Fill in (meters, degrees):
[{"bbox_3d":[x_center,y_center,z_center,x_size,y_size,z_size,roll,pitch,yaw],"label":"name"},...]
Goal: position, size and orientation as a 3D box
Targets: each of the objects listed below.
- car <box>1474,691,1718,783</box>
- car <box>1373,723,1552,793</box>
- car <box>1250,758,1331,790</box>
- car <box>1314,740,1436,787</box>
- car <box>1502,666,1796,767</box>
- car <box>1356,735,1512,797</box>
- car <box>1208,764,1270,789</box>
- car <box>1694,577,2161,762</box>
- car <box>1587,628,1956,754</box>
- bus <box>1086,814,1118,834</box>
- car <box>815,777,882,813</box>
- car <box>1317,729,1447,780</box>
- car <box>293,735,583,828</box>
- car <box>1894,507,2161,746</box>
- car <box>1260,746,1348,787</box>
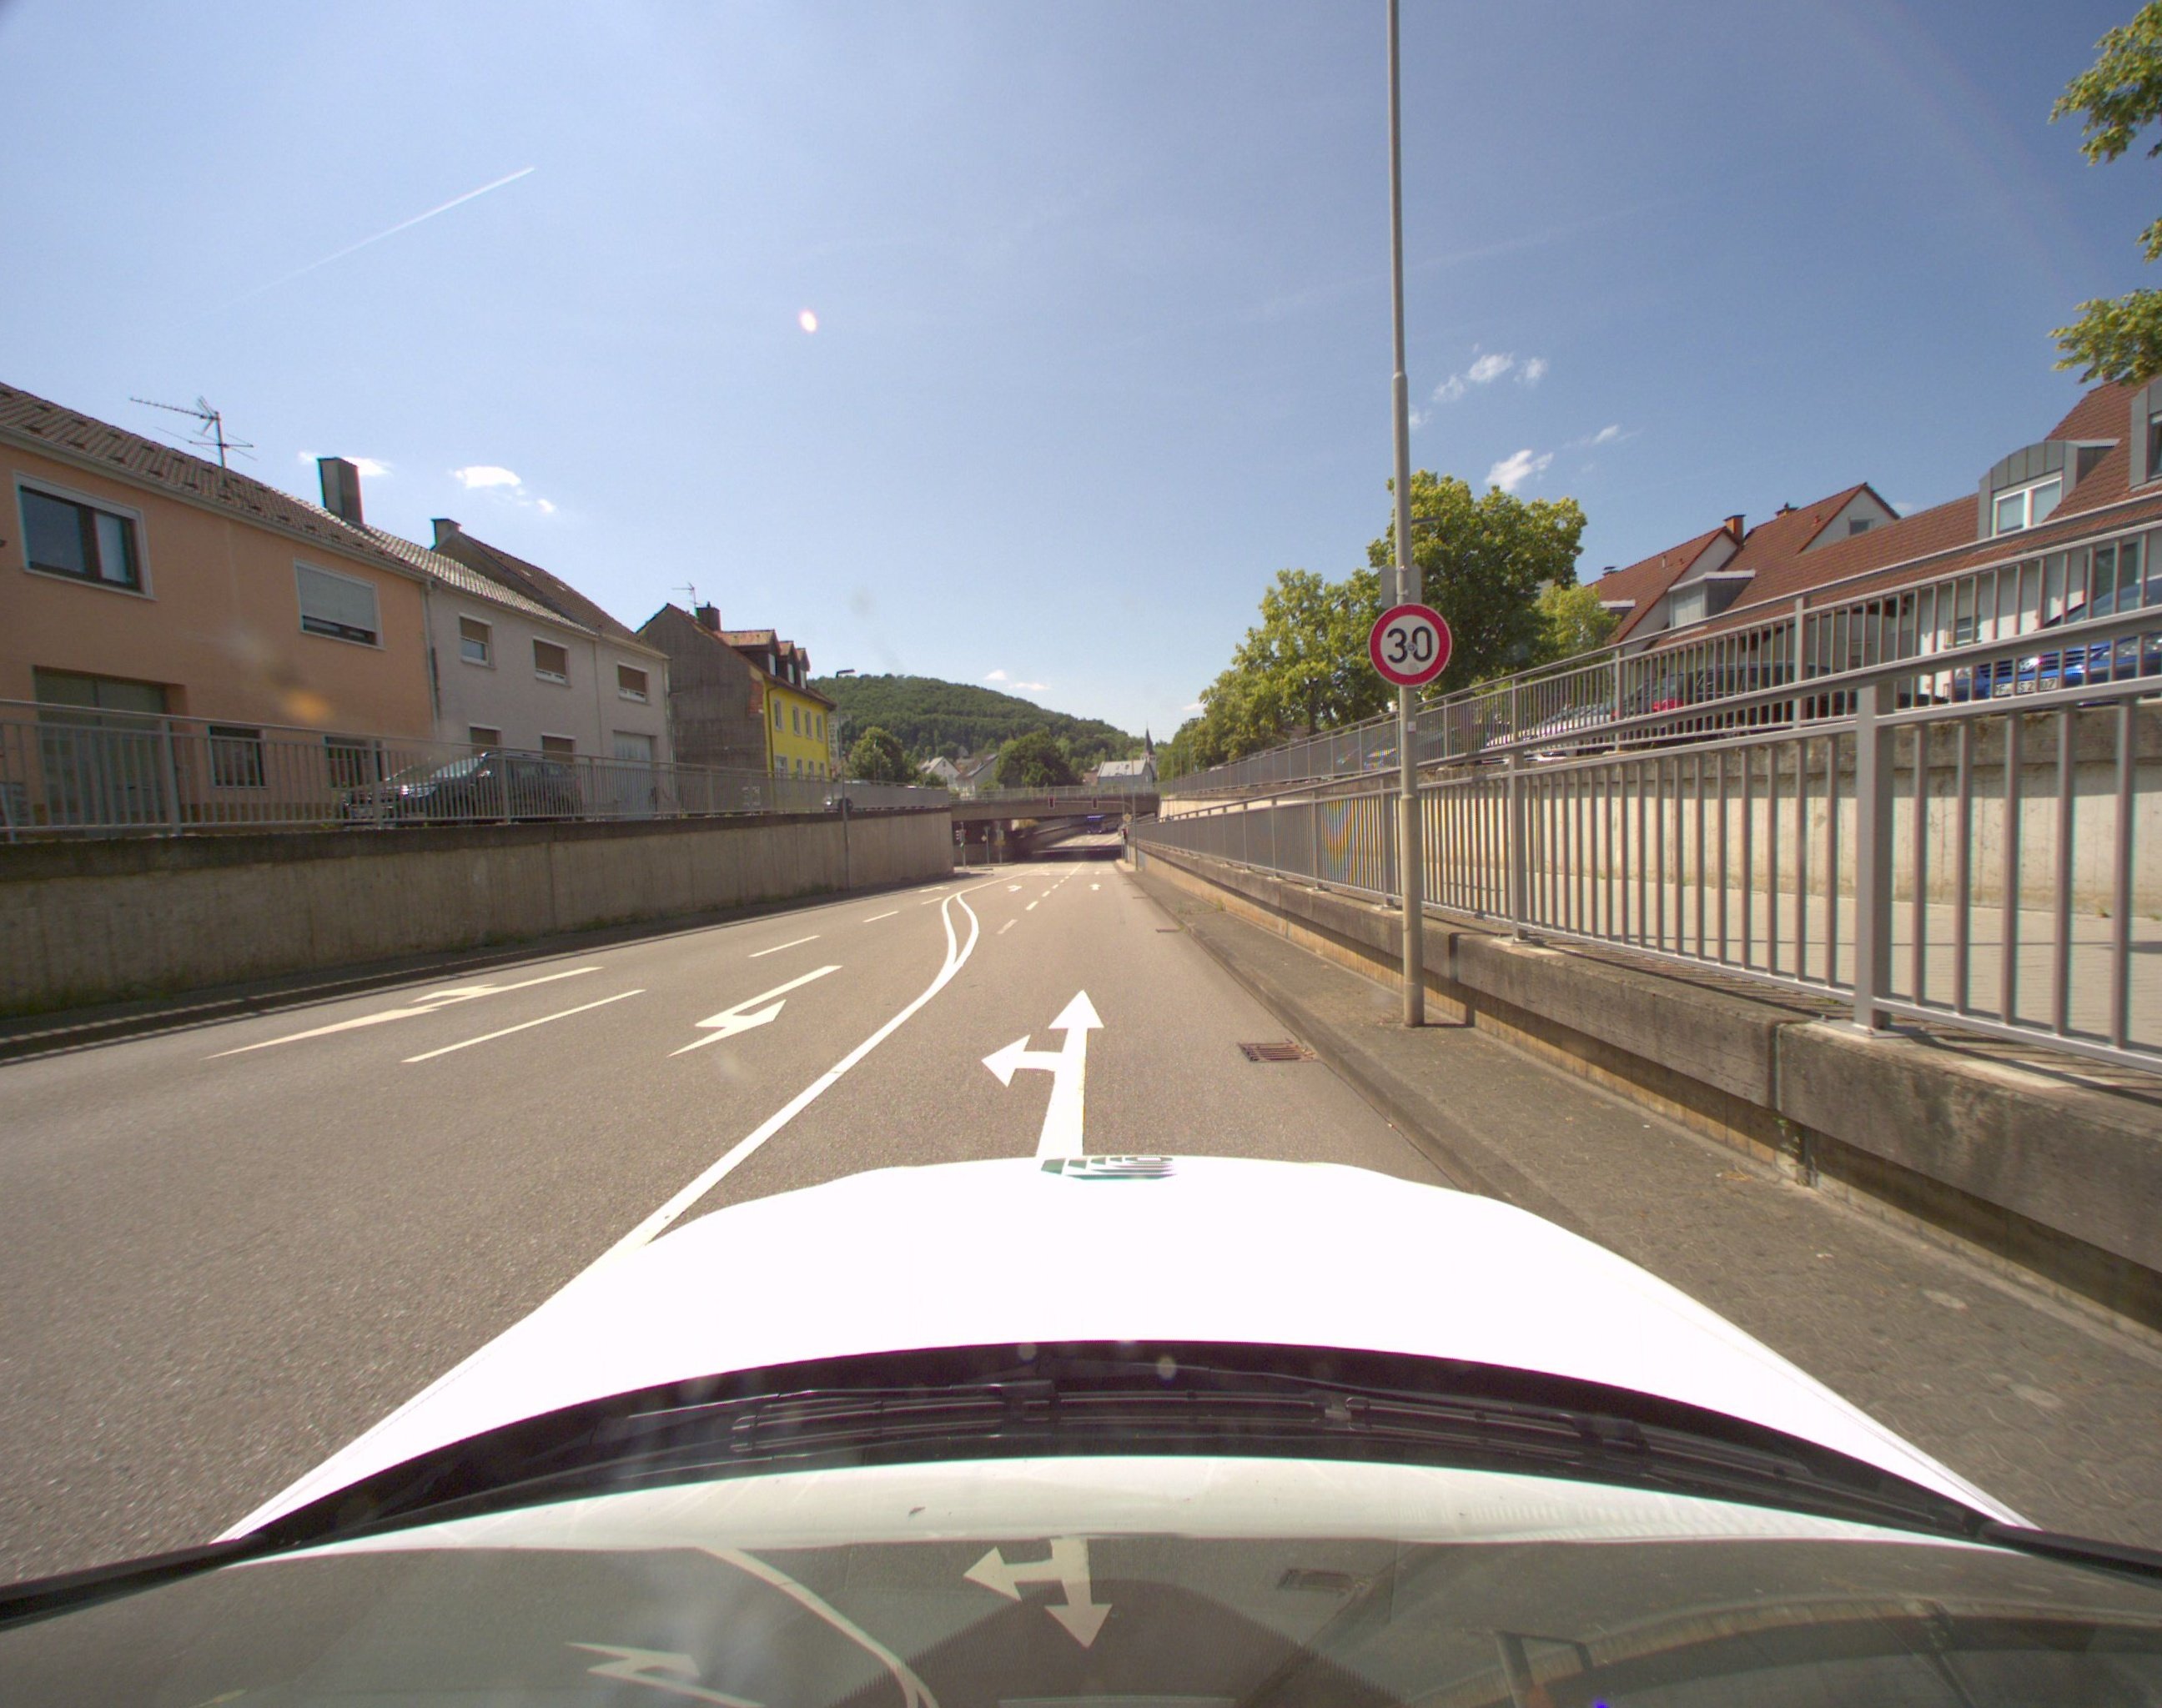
[{"bbox_3d":[10.649,-2.400,17.065,3.970,1.555,1.726,-2,1,3],"label":"car"},{"bbox_3d":[10.109,-2.532,21.789,3.970,1.555,1.726,-2,1,3],"label":"car"},{"bbox_3d":[11.252,-4.298,43.866,3.969,1.486,1.772,-1,0,4],"label":"car"},{"bbox_3d":[10.962,-3.364,30.579,3.969,1.486,1.772,-1,0,4],"label":"car"},{"bbox_3d":[9.875,-2.371,14.410,3.970,1.427,1.727,-2,3,3],"label":"car"},{"bbox_3d":[10.538,-2.612,24.519,3.970,1.555,1.726,-2,1,3],"label":"car"},{"bbox_3d":[10.940,-5.359,56.567,3.969,1.486,1.772,-1,0,4],"label":"car"},{"bbox_3d":[9.970,-2.112,9.737,3.977,1.632,1.771,-4,1,-2],"label":"car"},{"bbox_3d":[10.126,-2.369,12.186,3.972,1.306,1.773,-4,1,1],"label":"car"},{"bbox_3d":[3.768,-5.168,139.537,2.562,3.172,12.430,-1,3,15],"label":"bus"},{"bbox_3d":[-10.677,-2.680,37.708,1.793,1.524,4.393,-2,3,-1],"label":"car"},{"bbox_3d":[10.492,-3.470,28.610,3.969,1.486,1.772,-1,0,4],"label":"car"},{"bbox_3d":[-11.387,-1.238,14.939,1.780,1.405,4.393,-2,3,-1],"label":"car"},{"bbox_3d":[10.341,-1.956,7.634,3.985,1.629,1.858,-1,0,-8],"label":"car"},{"bbox_3d":[11.175,-4.400,41.049,3.969,1.770,1.772,-1,0,4],"label":"car"}]
